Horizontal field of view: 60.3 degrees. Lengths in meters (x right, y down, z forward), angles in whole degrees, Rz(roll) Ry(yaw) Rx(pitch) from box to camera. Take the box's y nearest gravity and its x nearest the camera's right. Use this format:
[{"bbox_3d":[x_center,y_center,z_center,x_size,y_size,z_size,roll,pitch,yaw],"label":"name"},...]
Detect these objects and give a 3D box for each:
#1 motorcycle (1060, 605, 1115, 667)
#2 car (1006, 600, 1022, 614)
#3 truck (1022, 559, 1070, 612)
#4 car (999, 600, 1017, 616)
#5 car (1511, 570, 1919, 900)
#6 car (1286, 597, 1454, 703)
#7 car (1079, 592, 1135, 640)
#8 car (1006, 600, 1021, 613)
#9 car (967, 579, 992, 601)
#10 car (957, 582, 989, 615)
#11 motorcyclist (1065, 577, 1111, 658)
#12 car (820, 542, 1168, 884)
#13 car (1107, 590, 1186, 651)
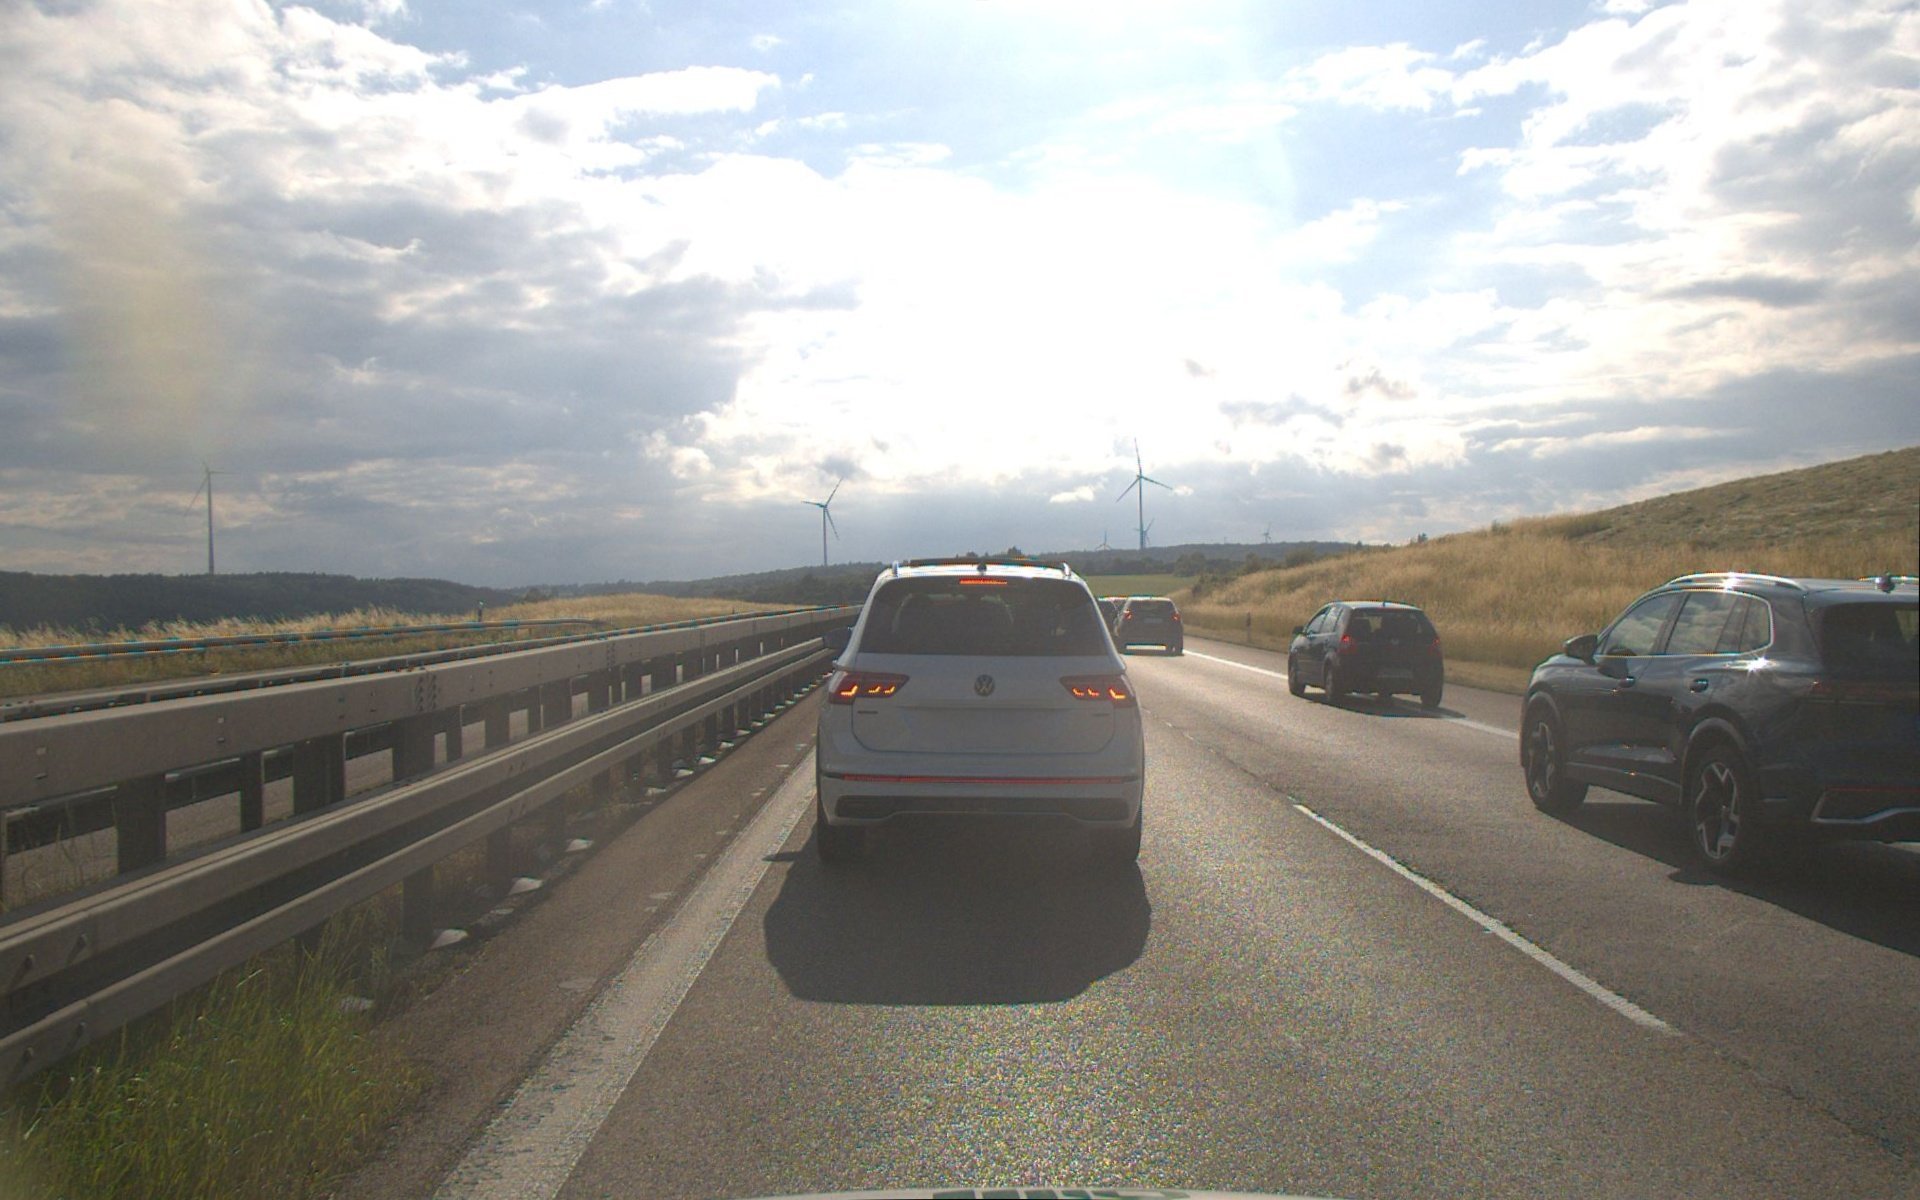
[{"bbox_3d":[2.548,0.701,33.223,0.877,1.211,2.256,0,0,-1],"label":"motorcycle"},{"bbox_3d":[6.384,0.820,194.776,1.669,1.573,3.999,0,0,-1],"label":"car"},{"bbox_3d":[6.085,-1.046,118.583,3.118,3.656,11.132,0,1,1],"label":"truck"},{"bbox_3d":[4.741,0.769,163.951,1.669,1.573,3.999,0,0,-1],"label":"car"},{"bbox_3d":[5.092,0.695,10.368,1.784,1.629,4.234,2,0,-1],"label":"car"},{"bbox_3d":[5.991,0.688,24.564,1.573,1.445,3.672,0,0,0],"label":"car"},{"bbox_3d":[5.314,0.568,60.178,1.669,1.679,3.999,0,0,-1],"label":"car"},{"bbox_3d":[6.475,0.830,201.182,1.669,1.573,3.999,0,0,-1],"label":"car"},{"bbox_3d":[1.371,-0.711,118.181,1.669,1.573,3.999,0,0,-1],"label":"car"},{"bbox_3d":[0.675,-0.073,88.231,1.669,1.679,3.999,0,0,-1],"label":"car"},{"bbox_3d":[2.553,0.348,33.140,0.832,1.587,0.934,0,0,-1],"label":"motorcyclist"},{"bbox_3d":[0.149,0.571,10.269,1.734,1.705,3.999,0,0,-1],"label":"car"},{"bbox_3d":[5.046,0.533,45.160,1.669,1.573,3.999,0,0,-1],"label":"car"}]
